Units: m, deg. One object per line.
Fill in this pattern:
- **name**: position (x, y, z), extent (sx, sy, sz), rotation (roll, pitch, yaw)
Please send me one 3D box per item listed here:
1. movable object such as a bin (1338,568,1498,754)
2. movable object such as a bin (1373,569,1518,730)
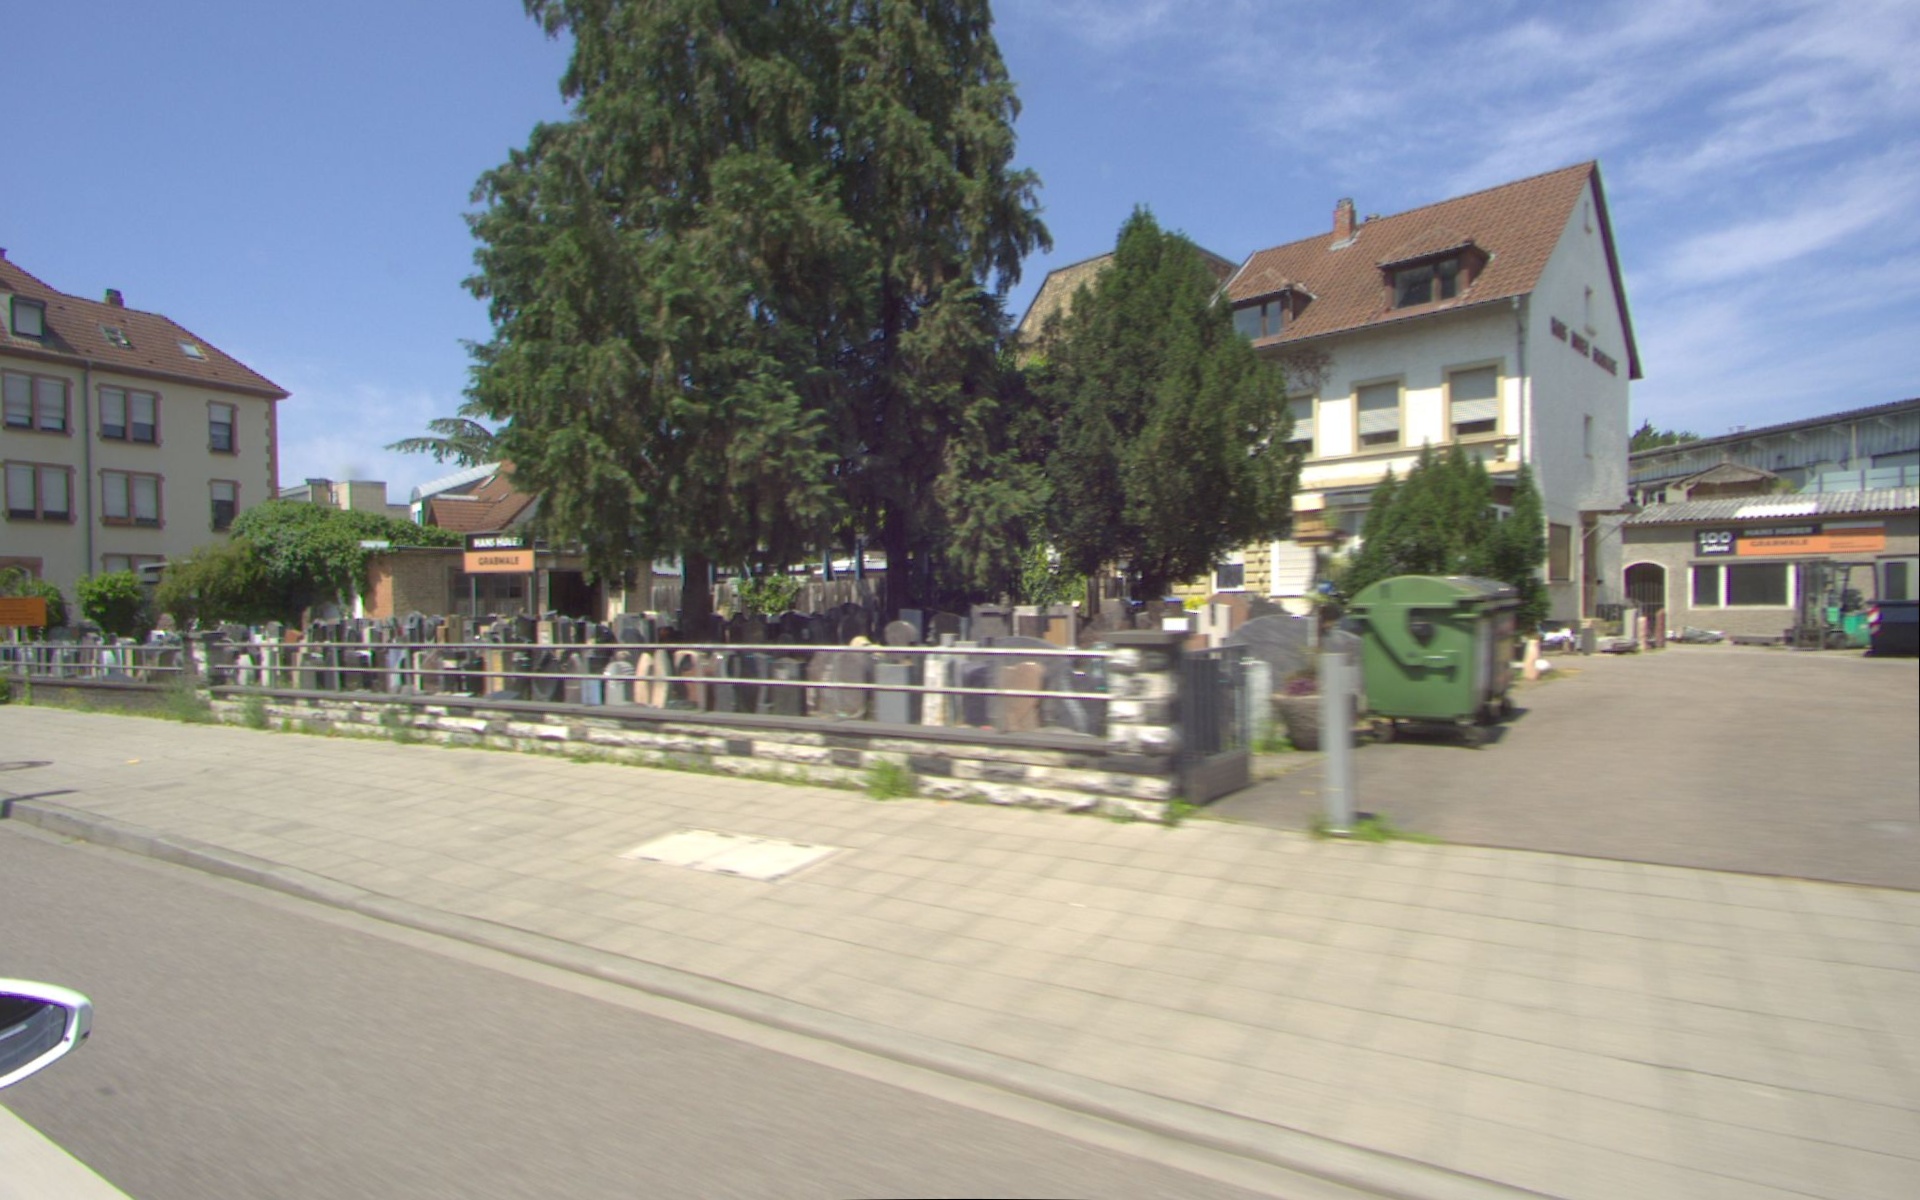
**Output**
- **movable object such as a bin**: position (4.125, 0.495, 8.973), extent (1.135, 1.501, 1.384), rotation (0, 0, 32)
- **movable object such as a bin**: position (4.993, 0.467, 10.262), extent (1.136, 1.501, 1.383), rotation (0, 0, 35)
